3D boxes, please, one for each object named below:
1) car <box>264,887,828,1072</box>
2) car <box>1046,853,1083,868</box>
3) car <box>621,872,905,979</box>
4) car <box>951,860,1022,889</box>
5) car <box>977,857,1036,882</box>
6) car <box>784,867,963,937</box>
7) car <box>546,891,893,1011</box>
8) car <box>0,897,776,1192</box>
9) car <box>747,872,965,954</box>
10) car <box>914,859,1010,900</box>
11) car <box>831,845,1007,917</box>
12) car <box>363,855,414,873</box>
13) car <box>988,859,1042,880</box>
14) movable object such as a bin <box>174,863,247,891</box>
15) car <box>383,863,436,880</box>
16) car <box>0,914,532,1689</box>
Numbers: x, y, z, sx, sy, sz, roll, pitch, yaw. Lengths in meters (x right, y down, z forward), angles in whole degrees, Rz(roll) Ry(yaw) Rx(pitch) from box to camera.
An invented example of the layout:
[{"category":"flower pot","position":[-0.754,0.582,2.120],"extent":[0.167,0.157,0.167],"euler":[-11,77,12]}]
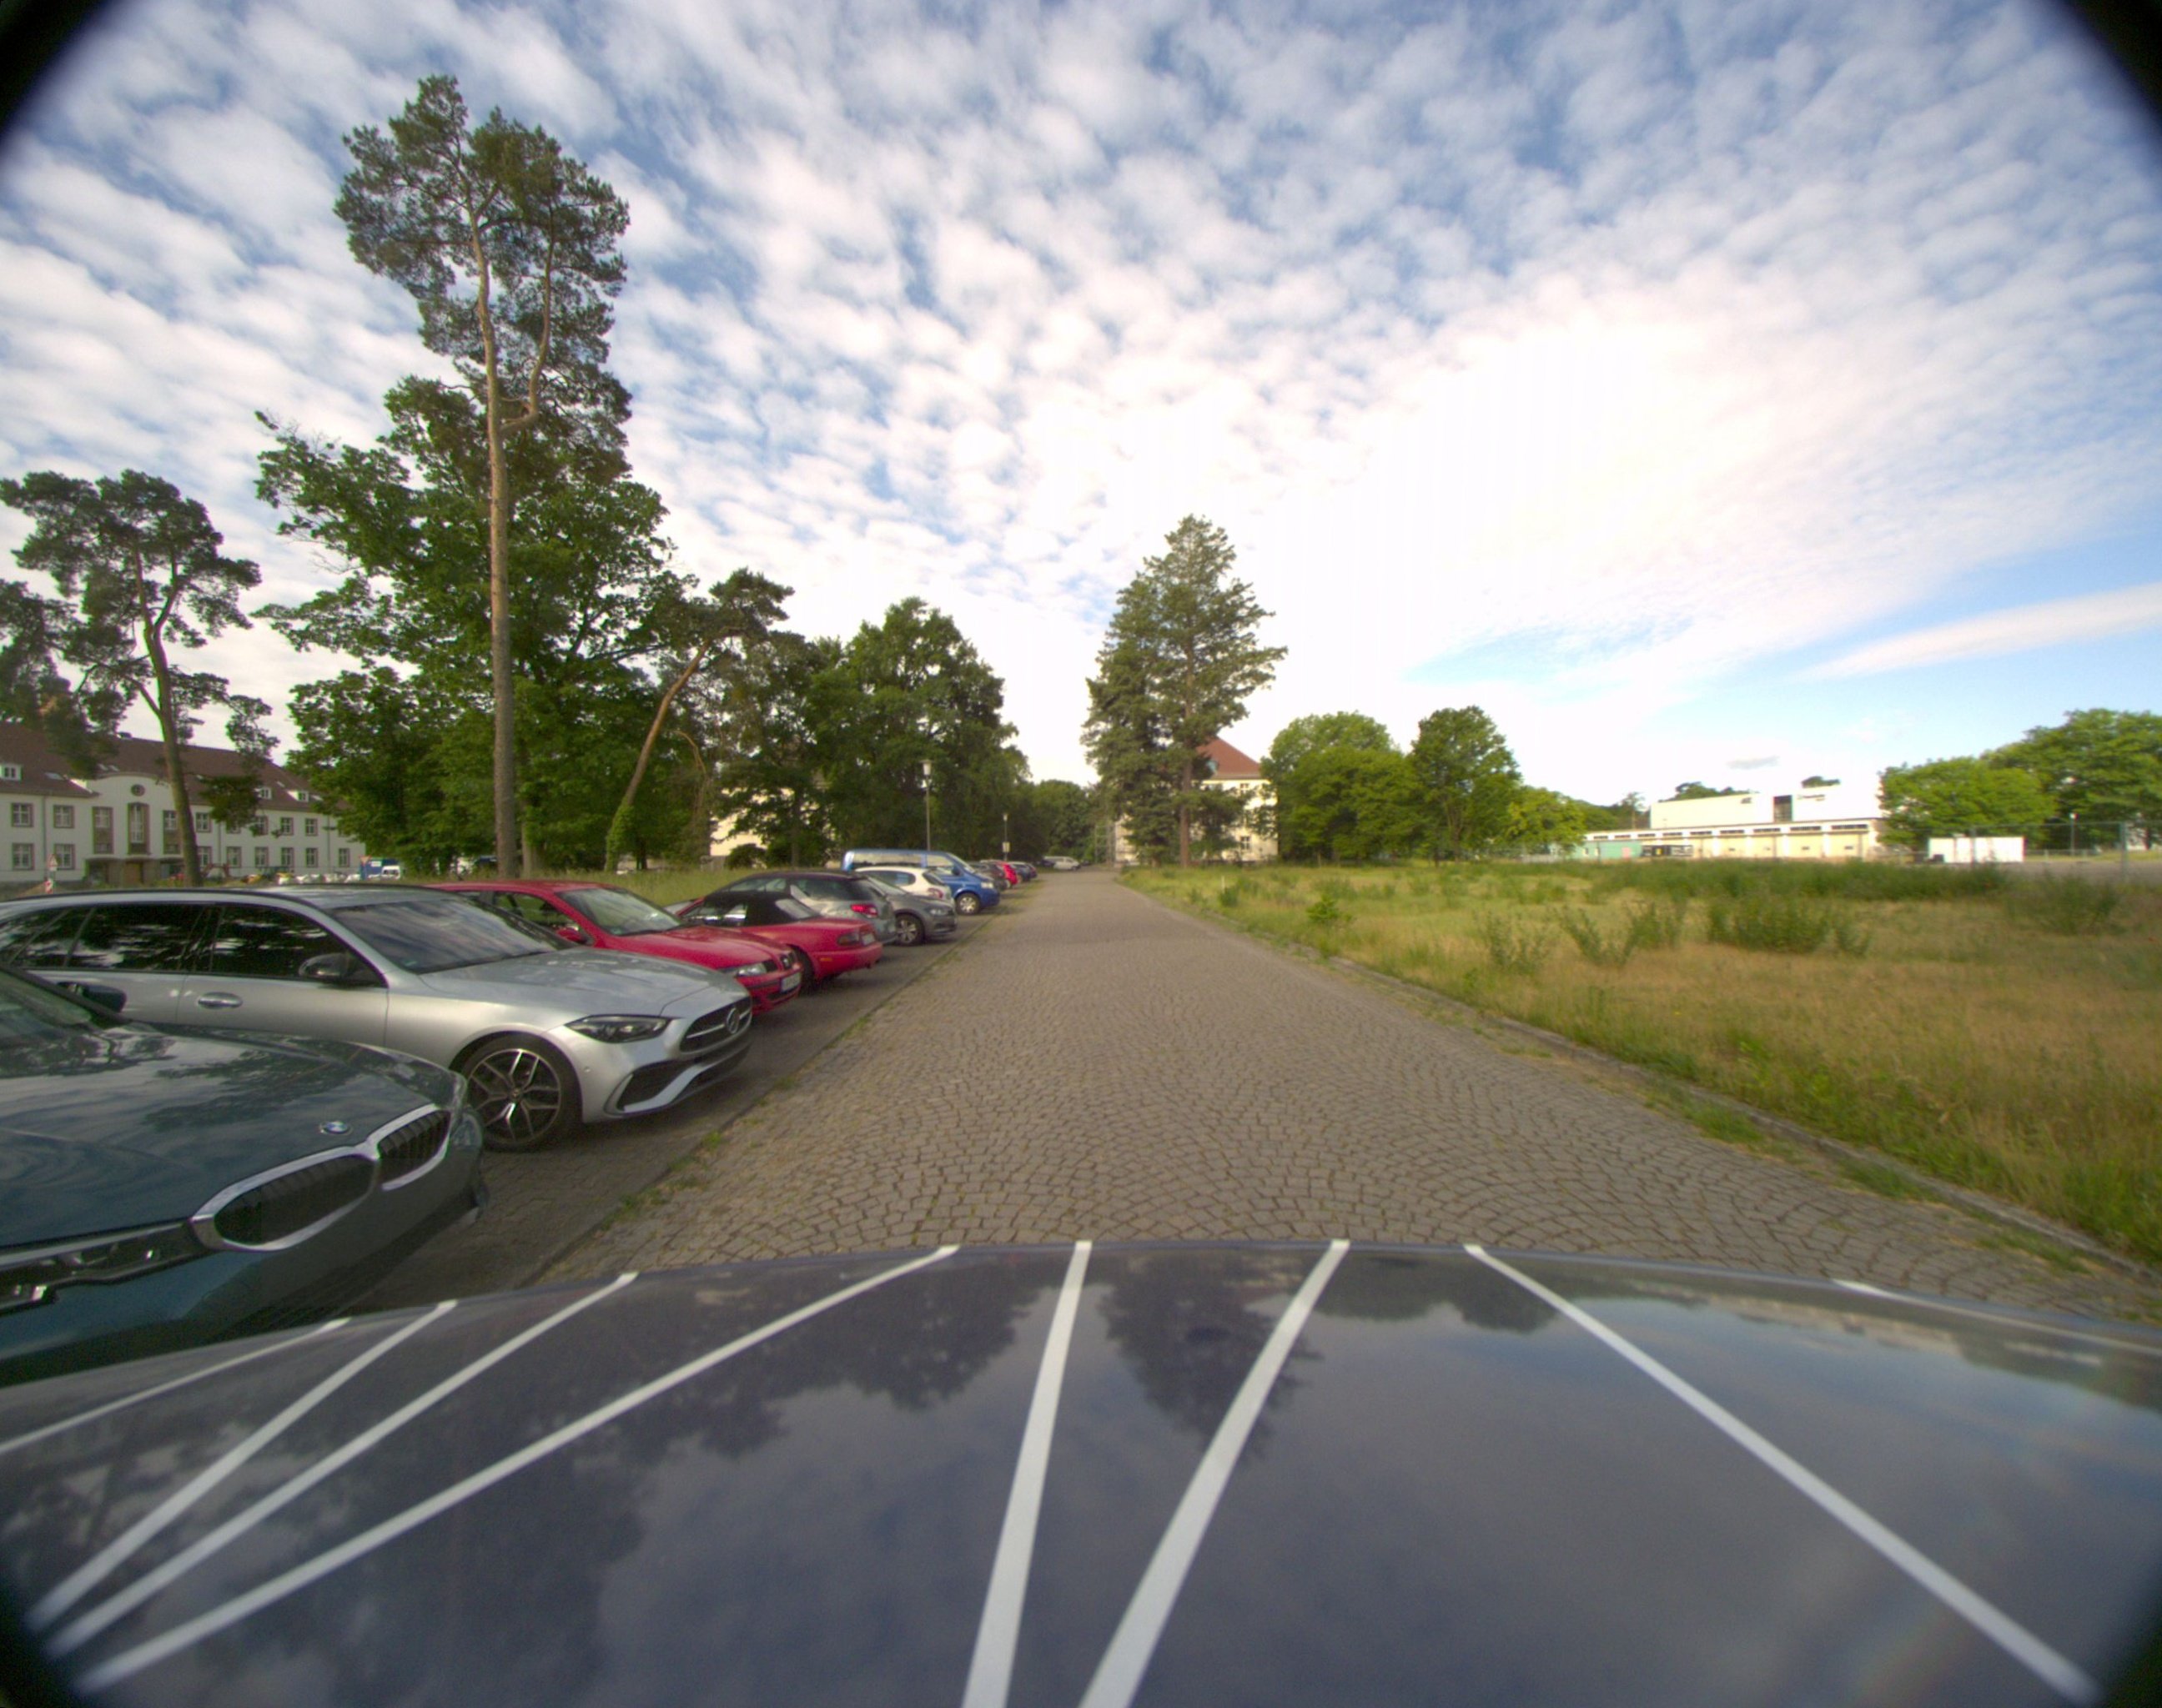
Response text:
[{"category":"car","position":[-4.773,1.093,7.243],"extent":[4.118,1.415,1.719],"euler":[-1,0,0]},{"category":"car","position":[-2.372,0.901,106.317],"extent":[5.130,2.002,1.804],"euler":[-1,0,-3]},{"category":"car","position":[-4.928,1.081,12.146],"extent":[3.838,1.494,1.604],"euler":[-1,0,-1]},{"category":"car","position":[-5.236,1.104,42.373],"extent":[3.839,1.516,1.580],"euler":[-1,0,-4]},{"category":"car","position":[-5.182,1.076,52.802],"extent":[3.836,1.609,1.581],"euler":[-1,0,4]},{"category":"car","position":[-4.811,1.106,17.952],"extent":[3.762,1.490,1.581],"euler":[-1,0,1]},{"category":"car","position":[-4.352,1.153,9.528],"extent":[3.555,1.279,1.608],"euler":[-1,-1,0]},{"category":"car","position":[-4.486,1.048,4.877],"extent":[4.337,1.420,1.766],"euler":[0,0,-2]},{"category":"car","position":[-4.339,1.122,15.028],"extent":[3.781,1.457,1.643],"euler":[-1,0,1]},{"category":"car","position":[-4.956,1.046,32.019],"extent":[3.839,1.592,1.580],"euler":[-1,0,-4]},{"category":"car","position":[-4.863,0.795,23.375],"extent":[4.954,2.011,2.060],"euler":[1,0,0]},{"category":"car","position":[-83.091,1.178,91.240],"extent":[2.217,2.002,4.001],"euler":[-1,0,4]},{"category":"car","position":[-5.018,1.143,57.698],"extent":[3.836,1.520,1.674],"euler":[-1,0,4]},{"category":"movable object such as a bin","position":[-91.494,2.346,79.954],"extent":[1.999,2.752,5.201],"euler":[-1,0,-6]},{"category":"car","position":[-69.411,1.800,78.613],"extent":[1.847,1.674,3.937],"euler":[1,0,2]},{"category":"car","position":[-4.546,1.025,2.173],"extent":[4.526,1.474,1.807],"euler":[-1,0,-3]}]
